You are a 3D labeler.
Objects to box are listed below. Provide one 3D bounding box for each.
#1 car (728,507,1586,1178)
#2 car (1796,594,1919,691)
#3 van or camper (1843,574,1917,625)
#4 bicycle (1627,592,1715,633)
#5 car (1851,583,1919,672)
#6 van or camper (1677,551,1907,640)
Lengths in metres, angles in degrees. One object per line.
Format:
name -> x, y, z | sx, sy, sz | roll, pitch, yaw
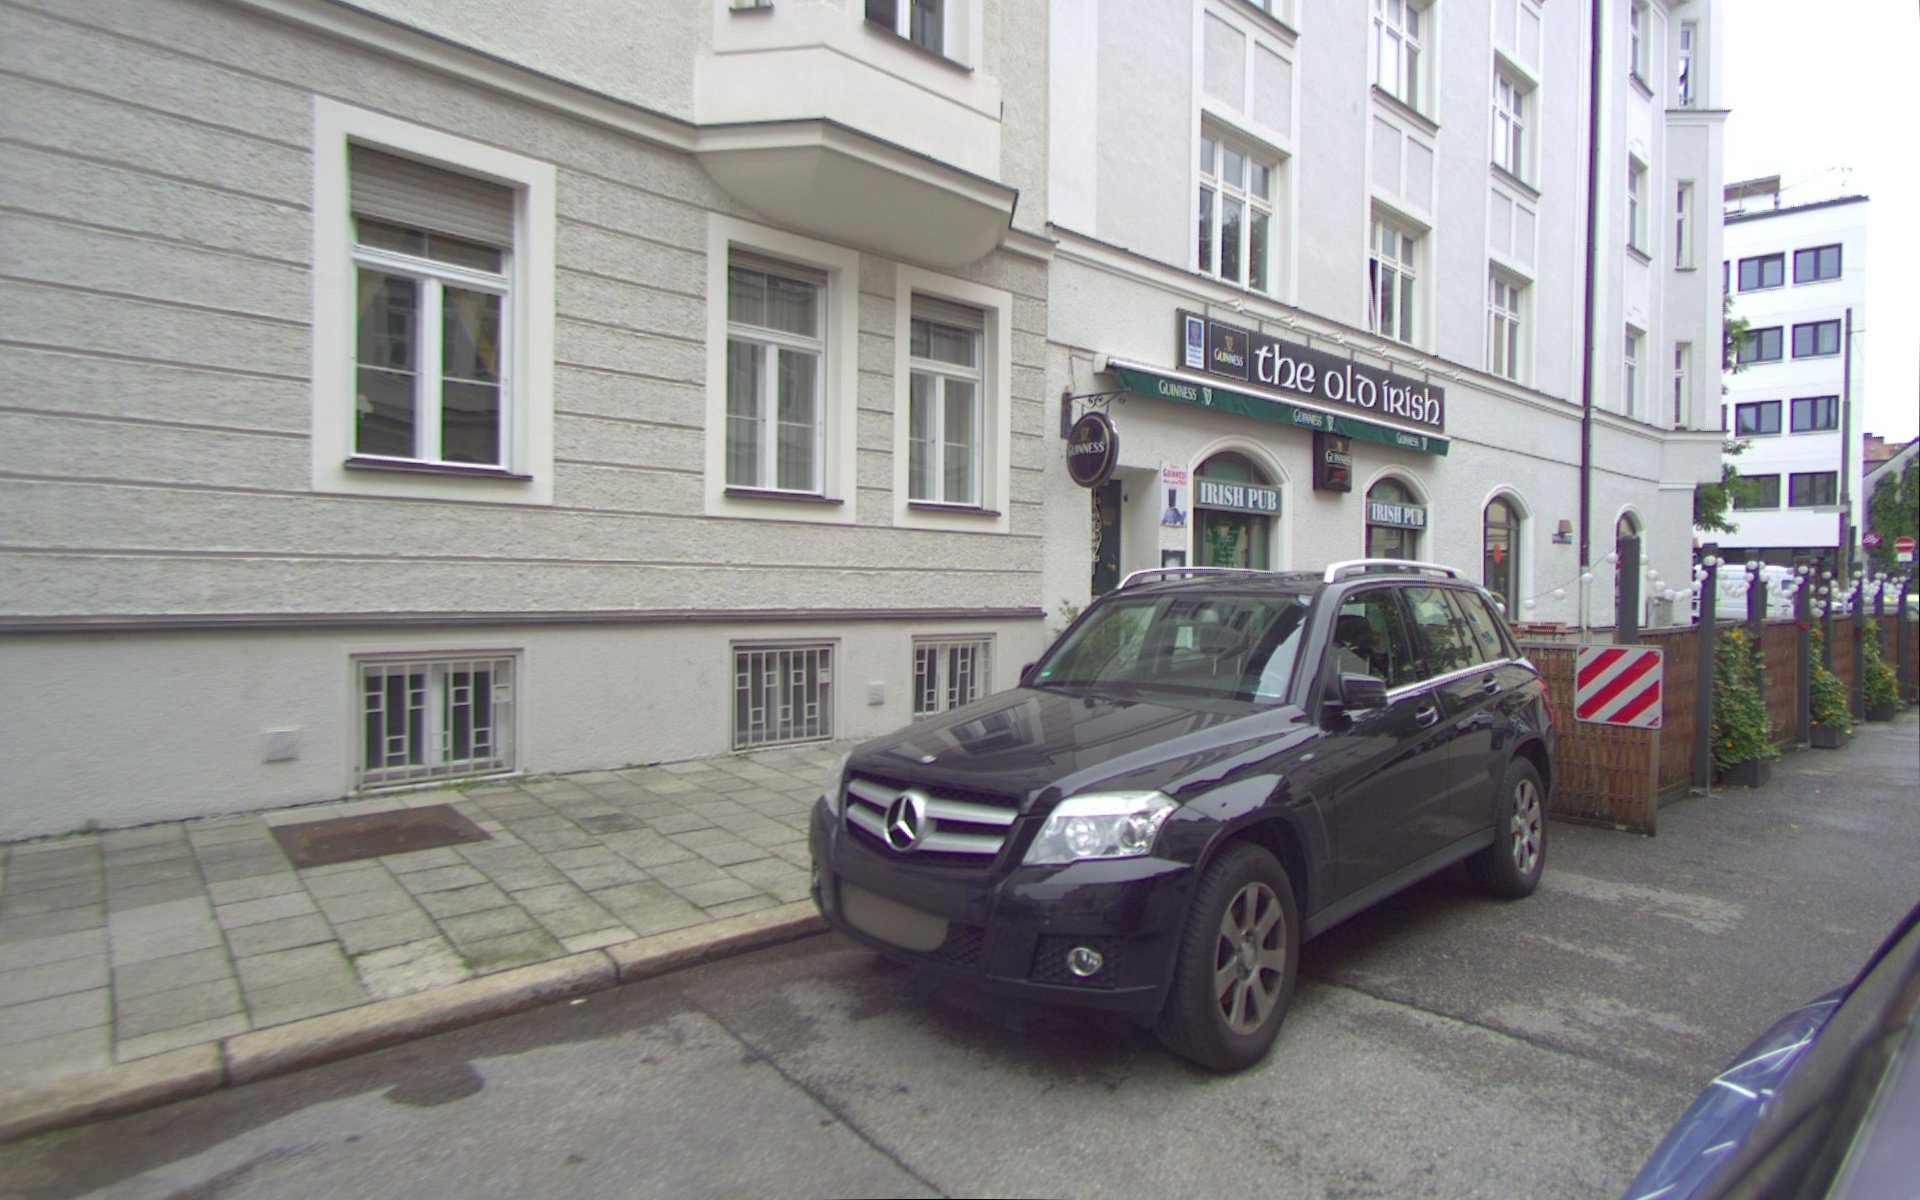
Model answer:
car -> 1.219, 0.616, 4.656 | 4.119, 1.696, 1.801 | 0, -1, -43
car -> 15.027, 0.632, 16.425 | 3.431, 1.418, 1.669 | 0, -2, -41
van or camper -> 48.126, -0.072, 53.050 | 1.953, 2.540, 5.656 | 1, 1, 33
bicycle -> 20.929, 0.353, 29.815 | 0.673, 1.144, 2.011 | 0, 1, -36
car -> 19.258, 0.509, 20.064 | 4.023, 1.639, 1.839 | 0, -2, -41
van or camper -> 28.003, -0.146, 34.307 | 5.847, 2.749, 2.269 | 1, -2, 41
